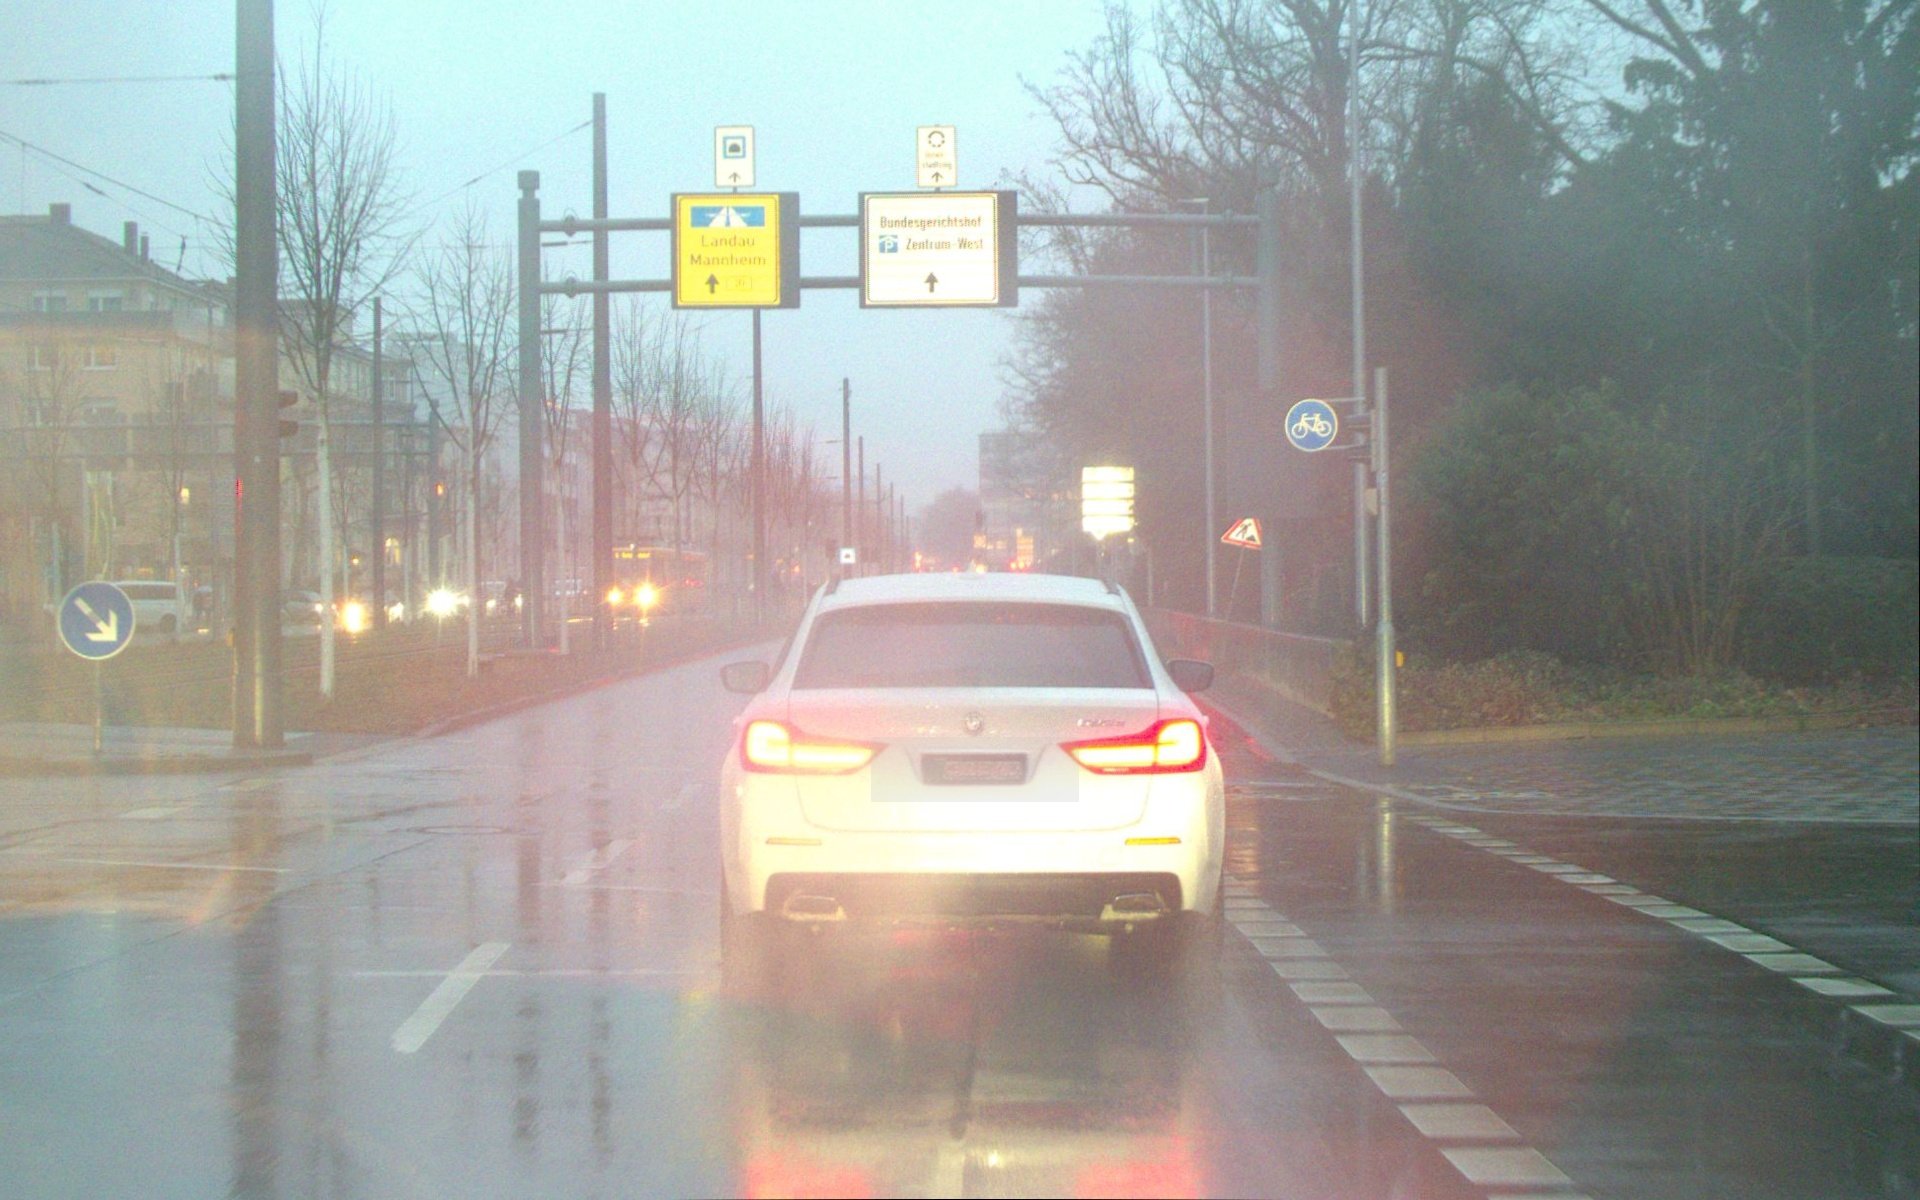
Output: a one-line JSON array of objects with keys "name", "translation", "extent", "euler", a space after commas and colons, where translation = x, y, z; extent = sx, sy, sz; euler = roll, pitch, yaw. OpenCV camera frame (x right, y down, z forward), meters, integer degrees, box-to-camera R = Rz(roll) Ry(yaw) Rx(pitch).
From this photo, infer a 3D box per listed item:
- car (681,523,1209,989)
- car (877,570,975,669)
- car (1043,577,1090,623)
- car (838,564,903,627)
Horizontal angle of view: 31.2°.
[{"name": "car", "translation": [-0.174, 0.518, 13.707], "extent": [1.759, 1.547, 4.252], "euler": [1, 0, -3]}, {"name": "car", "translation": [-0.707, 0.399, 72.930], "extent": [1.993, 2.007, 4.000], "euler": [1, 0, 0]}, {"name": "car", "translation": [4.789, -0.018, 154.883], "extent": [1.993, 2.007, 4.000], "euler": [1, 0, 0]}, {"name": "car", "translation": [-2.902, -0.147, 112.396], "extent": [1.993, 2.007, 4.000], "euler": [1, 0, 0]}]
